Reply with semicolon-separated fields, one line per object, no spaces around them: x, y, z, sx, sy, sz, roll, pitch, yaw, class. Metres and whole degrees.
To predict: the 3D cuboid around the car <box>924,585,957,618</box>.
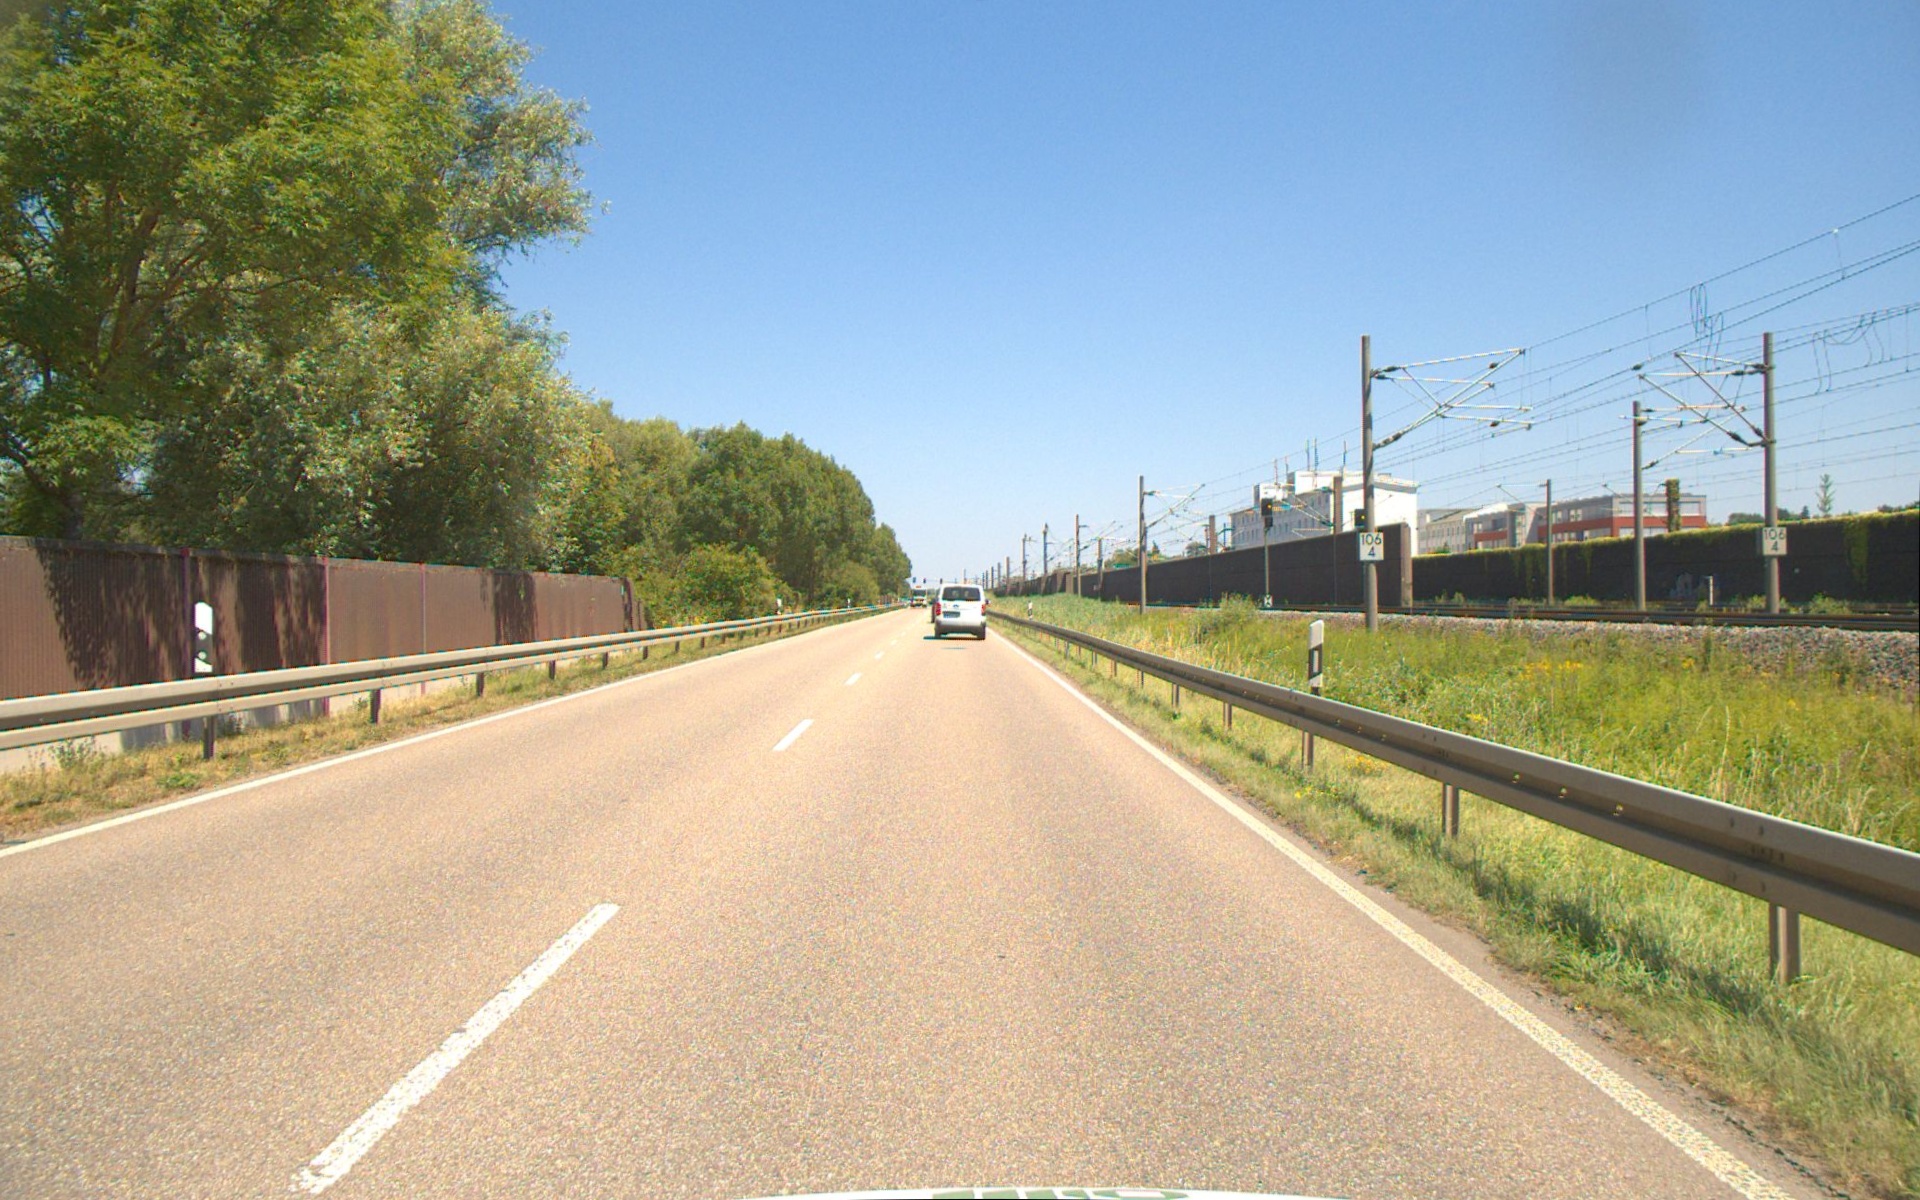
-1.168;0.063;99.813;1.953;1.882;3.999;2;0;-1;car

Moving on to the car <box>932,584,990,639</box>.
0.019;0.389;59.849;1.953;1.882;3.999;2;0;-1;car
